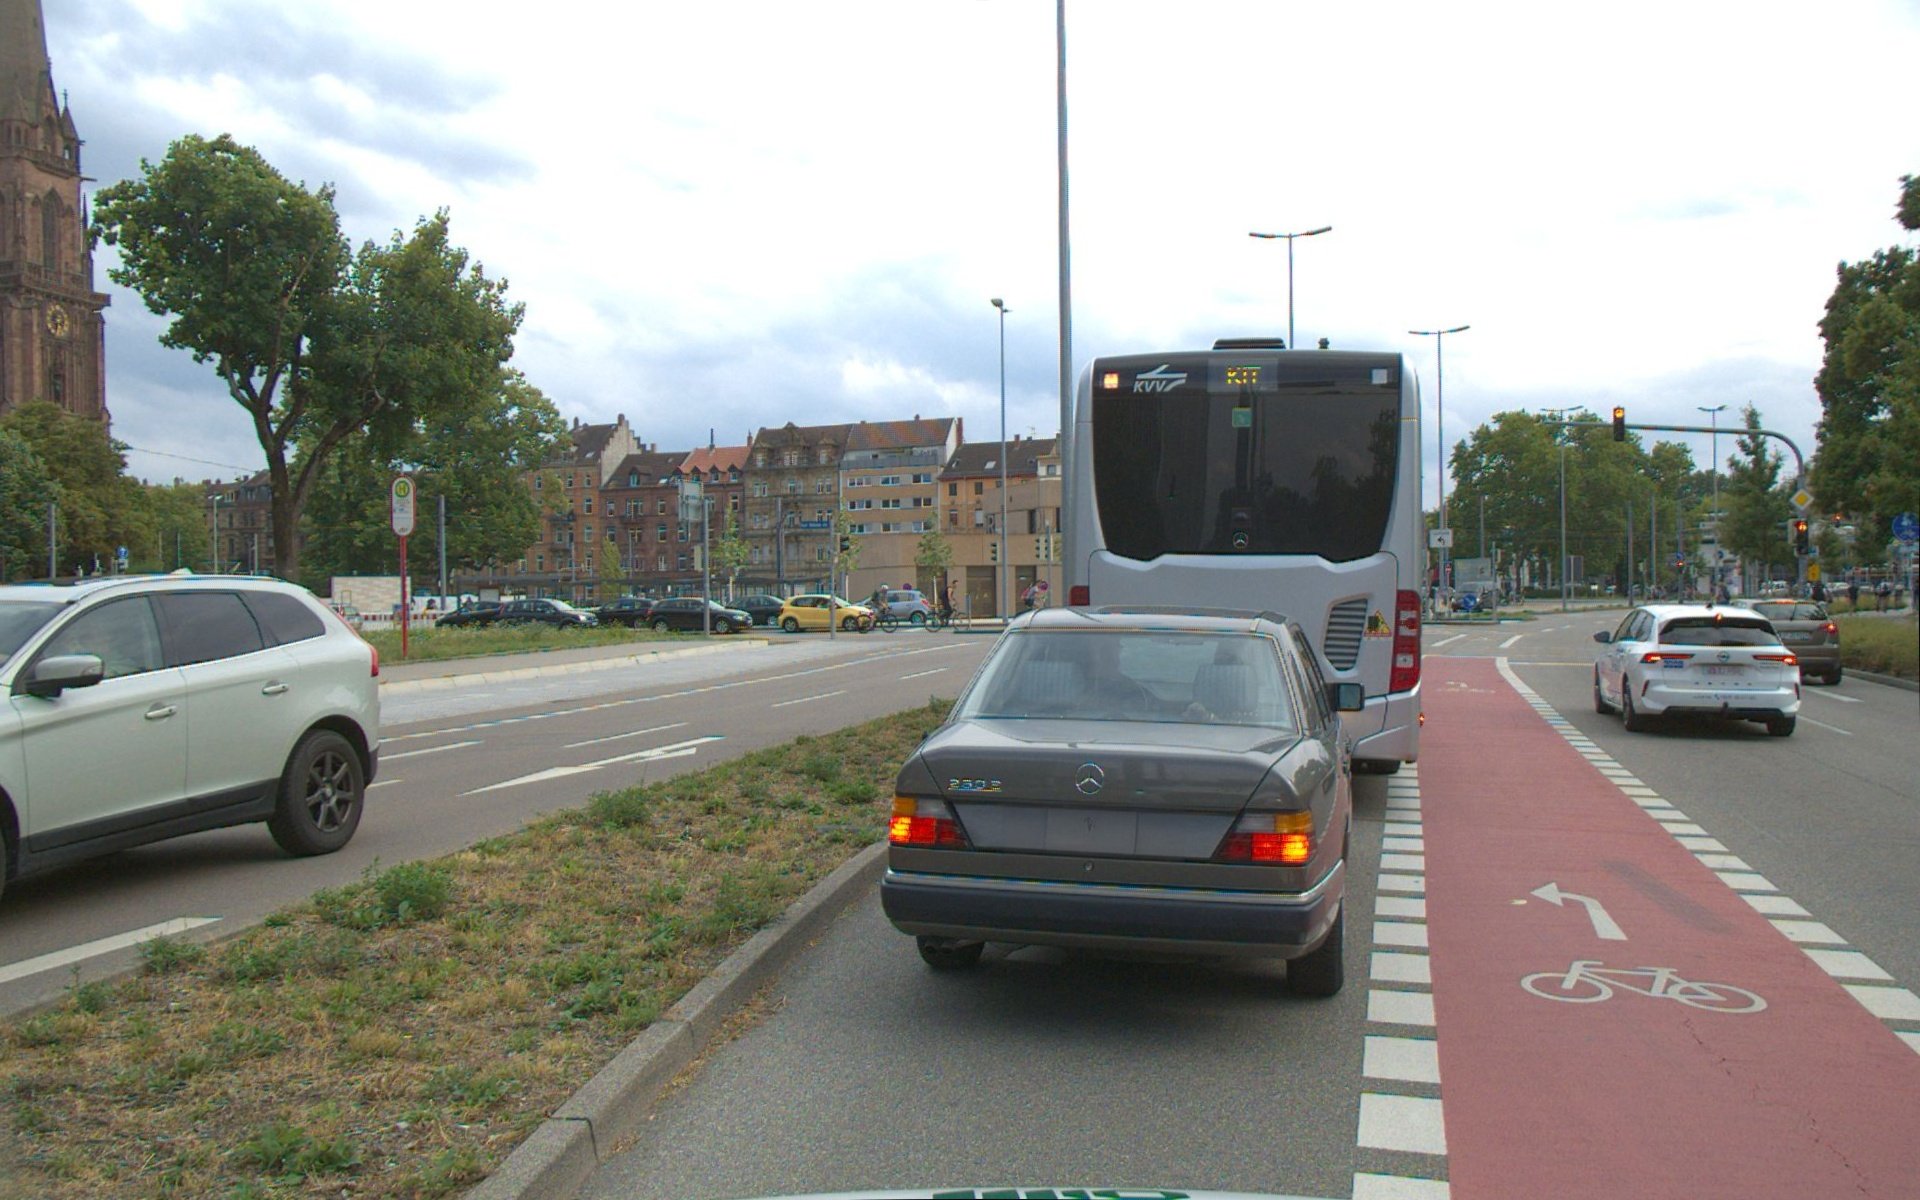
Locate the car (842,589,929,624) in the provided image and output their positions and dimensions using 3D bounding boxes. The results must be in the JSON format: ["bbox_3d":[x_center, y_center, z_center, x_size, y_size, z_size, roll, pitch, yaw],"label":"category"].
[{"bbox_3d":[-3.116,0.254,69.127,3.599,1.419,1.584,1,1,-3],"label":"car"}]

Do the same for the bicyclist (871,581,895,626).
[{"bbox_3d":[-2.884,0.132,61.807,0.769,1.672,0.573,-1,0,10],"label":"bicyclist"}]

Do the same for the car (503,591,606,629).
[{"bbox_3d":[-16.329,0.391,66.658,3.683,1.419,1.586,1,1,10],"label":"car"}]

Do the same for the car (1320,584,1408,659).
[{"bbox_3d":[8.243,0.397,33.975,1.619,1.421,3.864,-1,1,12],"label":"car"}]

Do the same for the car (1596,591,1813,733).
[{"bbox_3d":[8.821,0.653,19.963,1.703,1.464,4.786,-1,1,16],"label":"car"}]

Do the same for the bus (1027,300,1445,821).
[{"bbox_3d":[2.781,-0.302,15.248,2.771,3.449,8.190,-1,1,13],"label":"bus"}]

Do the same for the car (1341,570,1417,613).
[{"bbox_3d":[22.330,-0.481,88.010,2.535,2.146,5.591,-1,0,29],"label":"car"}]

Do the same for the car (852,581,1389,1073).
[{"bbox_3d":[0.986,0.691,7.358,1.724,1.515,4.174,-1,1,14],"label":"car"}]

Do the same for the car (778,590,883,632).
[{"bbox_3d":[-5.039,0.421,64.607,3.774,1.544,1.662,1,1,10],"label":"car"}]

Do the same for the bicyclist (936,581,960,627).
[{"bbox_3d":[-0.445,0.153,61.246,0.769,1.672,0.573,-1,0,14],"label":"bicyclist"}]

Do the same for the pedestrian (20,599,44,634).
[{"bbox_3d":[-42.859,0.762,76.394,0.549,1.587,0.727,-1,3,9],"label":"pedestrian"}]

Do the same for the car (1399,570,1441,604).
[{"bbox_3d":[26.469,-0.777,95.118,1.770,1.883,3.999,-1,0,24],"label":"car"}]

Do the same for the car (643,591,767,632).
[{"bbox_3d":[-10.088,0.436,65.555,4.569,1.501,1.662,1,1,10],"label":"car"}]

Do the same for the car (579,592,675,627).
[{"bbox_3d":[-14.183,0.377,70.552,3.683,1.419,1.586,1,1,10],"label":"car"}]

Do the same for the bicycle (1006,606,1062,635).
[{"bbox_3d":[2.688,0.731,60.067,1.922,0.999,0.631,-1,0,12],"label":"bicycle"}]

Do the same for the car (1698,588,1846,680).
[{"bbox_3d":[14.203,0.551,29.113,1.688,1.483,3.738,-1,1,16],"label":"car"}]

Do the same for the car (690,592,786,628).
[{"bbox_3d":[-9.362,0.415,69.824,3.683,1.419,1.586,1,1,10],"label":"car"}]

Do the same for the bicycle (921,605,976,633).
[{"bbox_3d":[-0.442,0.701,61.240,1.922,0.999,0.631,-1,0,14],"label":"bicycle"}]

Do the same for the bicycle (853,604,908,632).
[{"bbox_3d":[-2.970,0.680,61.832,1.922,0.999,0.631,-1,0,10],"label":"bicycle"}]

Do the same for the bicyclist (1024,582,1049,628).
[{"bbox_3d":[2.770,0.183,60.052,0.769,1.672,0.614,-1,0,12],"label":"bicyclist"}]

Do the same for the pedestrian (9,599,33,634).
[{"bbox_3d":[-43.706,0.752,76.994,0.549,1.587,0.727,-1,3,9],"label":"pedestrian"}]

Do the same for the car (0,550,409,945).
[{"bbox_3d":[-4.892,0.667,8.611,1.743,1.760,4.377,-2,0,14],"label":"car"}]
